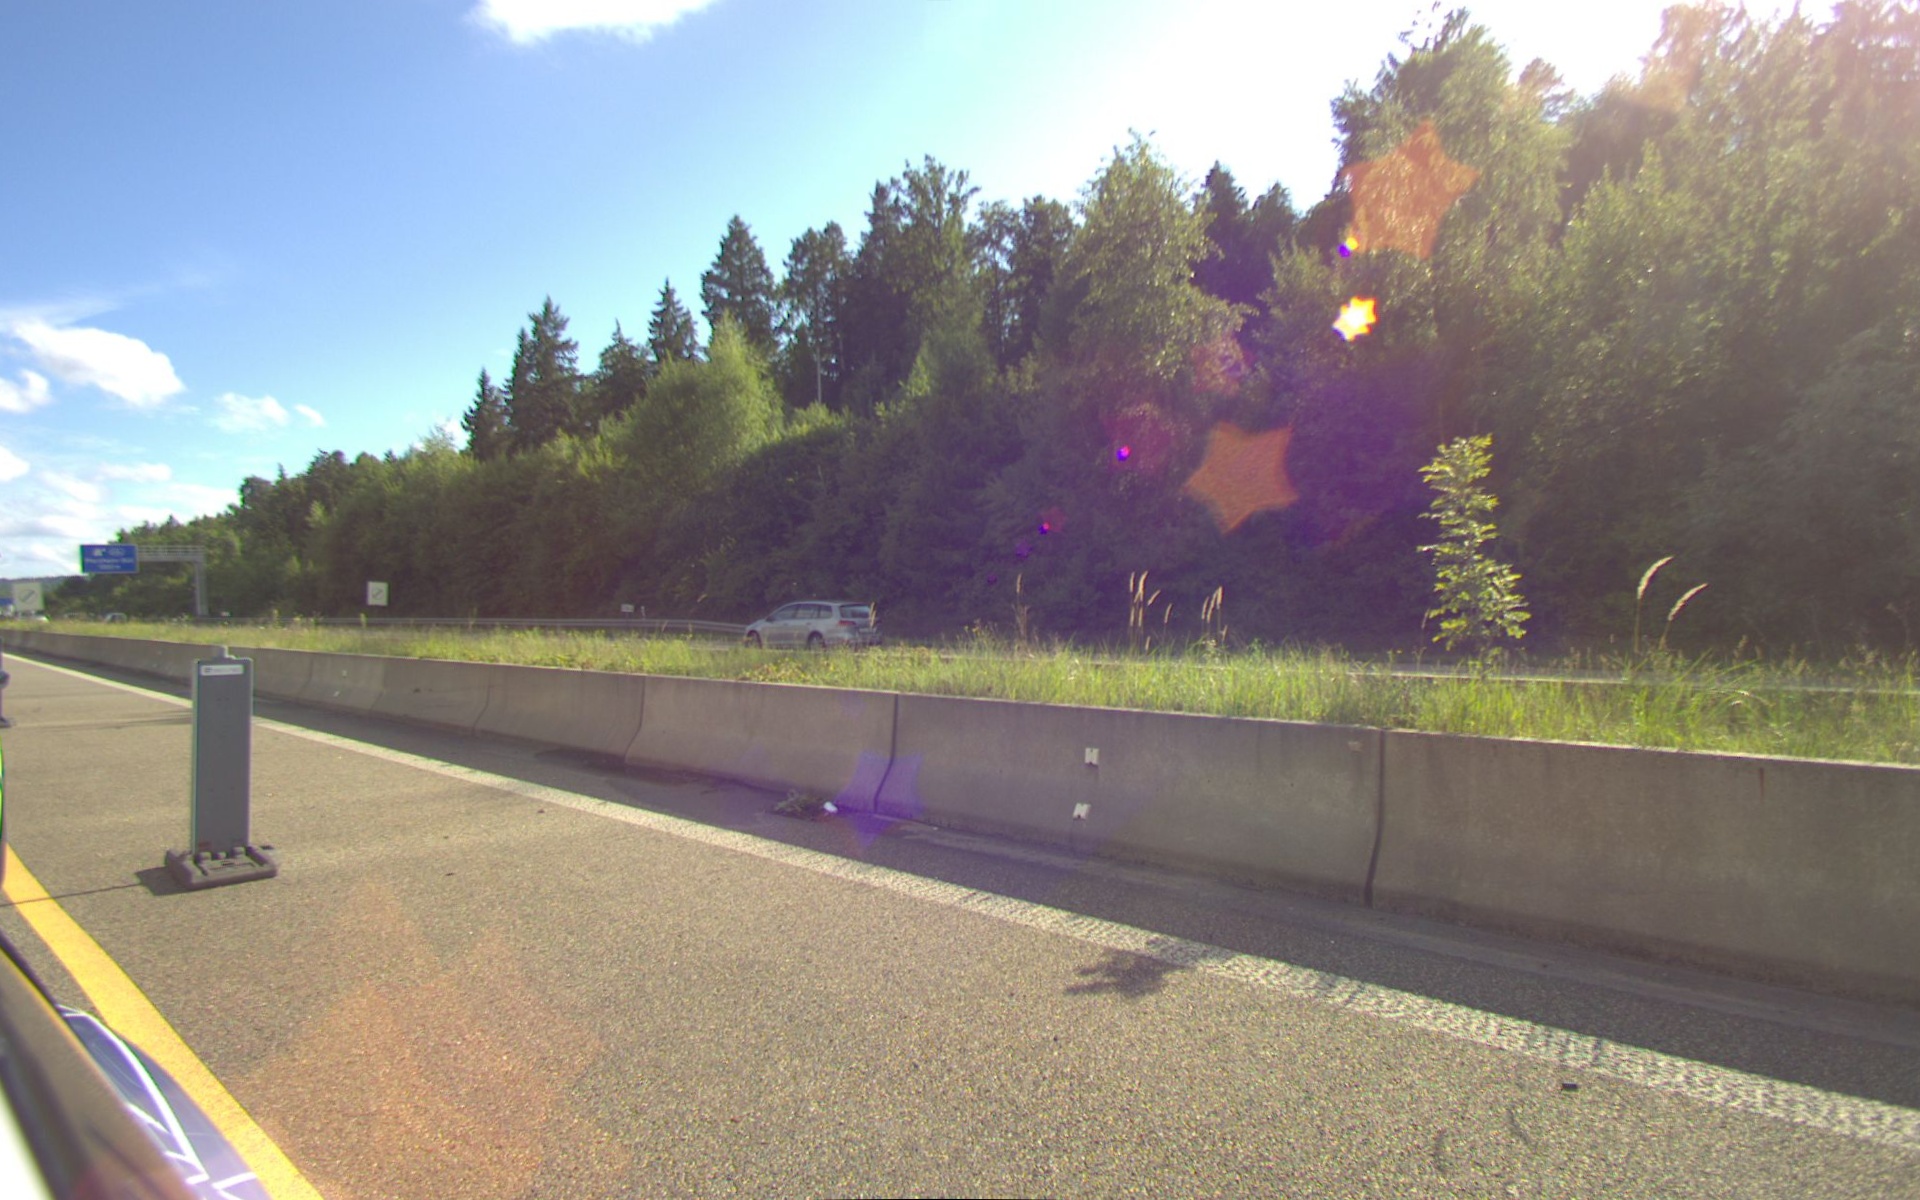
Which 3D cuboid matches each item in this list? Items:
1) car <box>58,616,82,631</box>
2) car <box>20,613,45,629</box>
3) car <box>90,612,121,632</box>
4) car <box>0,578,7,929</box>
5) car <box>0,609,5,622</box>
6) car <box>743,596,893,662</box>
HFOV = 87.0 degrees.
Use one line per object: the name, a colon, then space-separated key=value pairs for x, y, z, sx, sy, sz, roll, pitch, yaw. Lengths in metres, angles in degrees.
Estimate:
car: x=-119.916 y=3.156 z=136.365 sx=3.998 sy=2.029 sz=1.973 roll=-1 pitch=0 yaw=41
car: x=-118.276 y=2.648 z=129.018 sx=3.998 sy=2.029 sz=1.973 roll=-1 pitch=0 yaw=41
car: x=-92.567 y=2.354 z=109.667 sx=3.998 sy=2.029 sz=1.973 roll=-1 pitch=0 yaw=41
car: x=-6.488 y=0.733 z=5.330 sx=4.016 sy=1.614 sz=1.759 roll=-1 pitch=0 yaw=41
car: x=-154.133 y=2.527 z=161.618 sx=3.998 sy=2.029 sz=1.973 roll=-1 pitch=0 yaw=41
car: x=-3.823 y=0.724 z=26.871 sx=4.016 sy=1.614 sz=1.759 roll=-1 pitch=0 yaw=41
